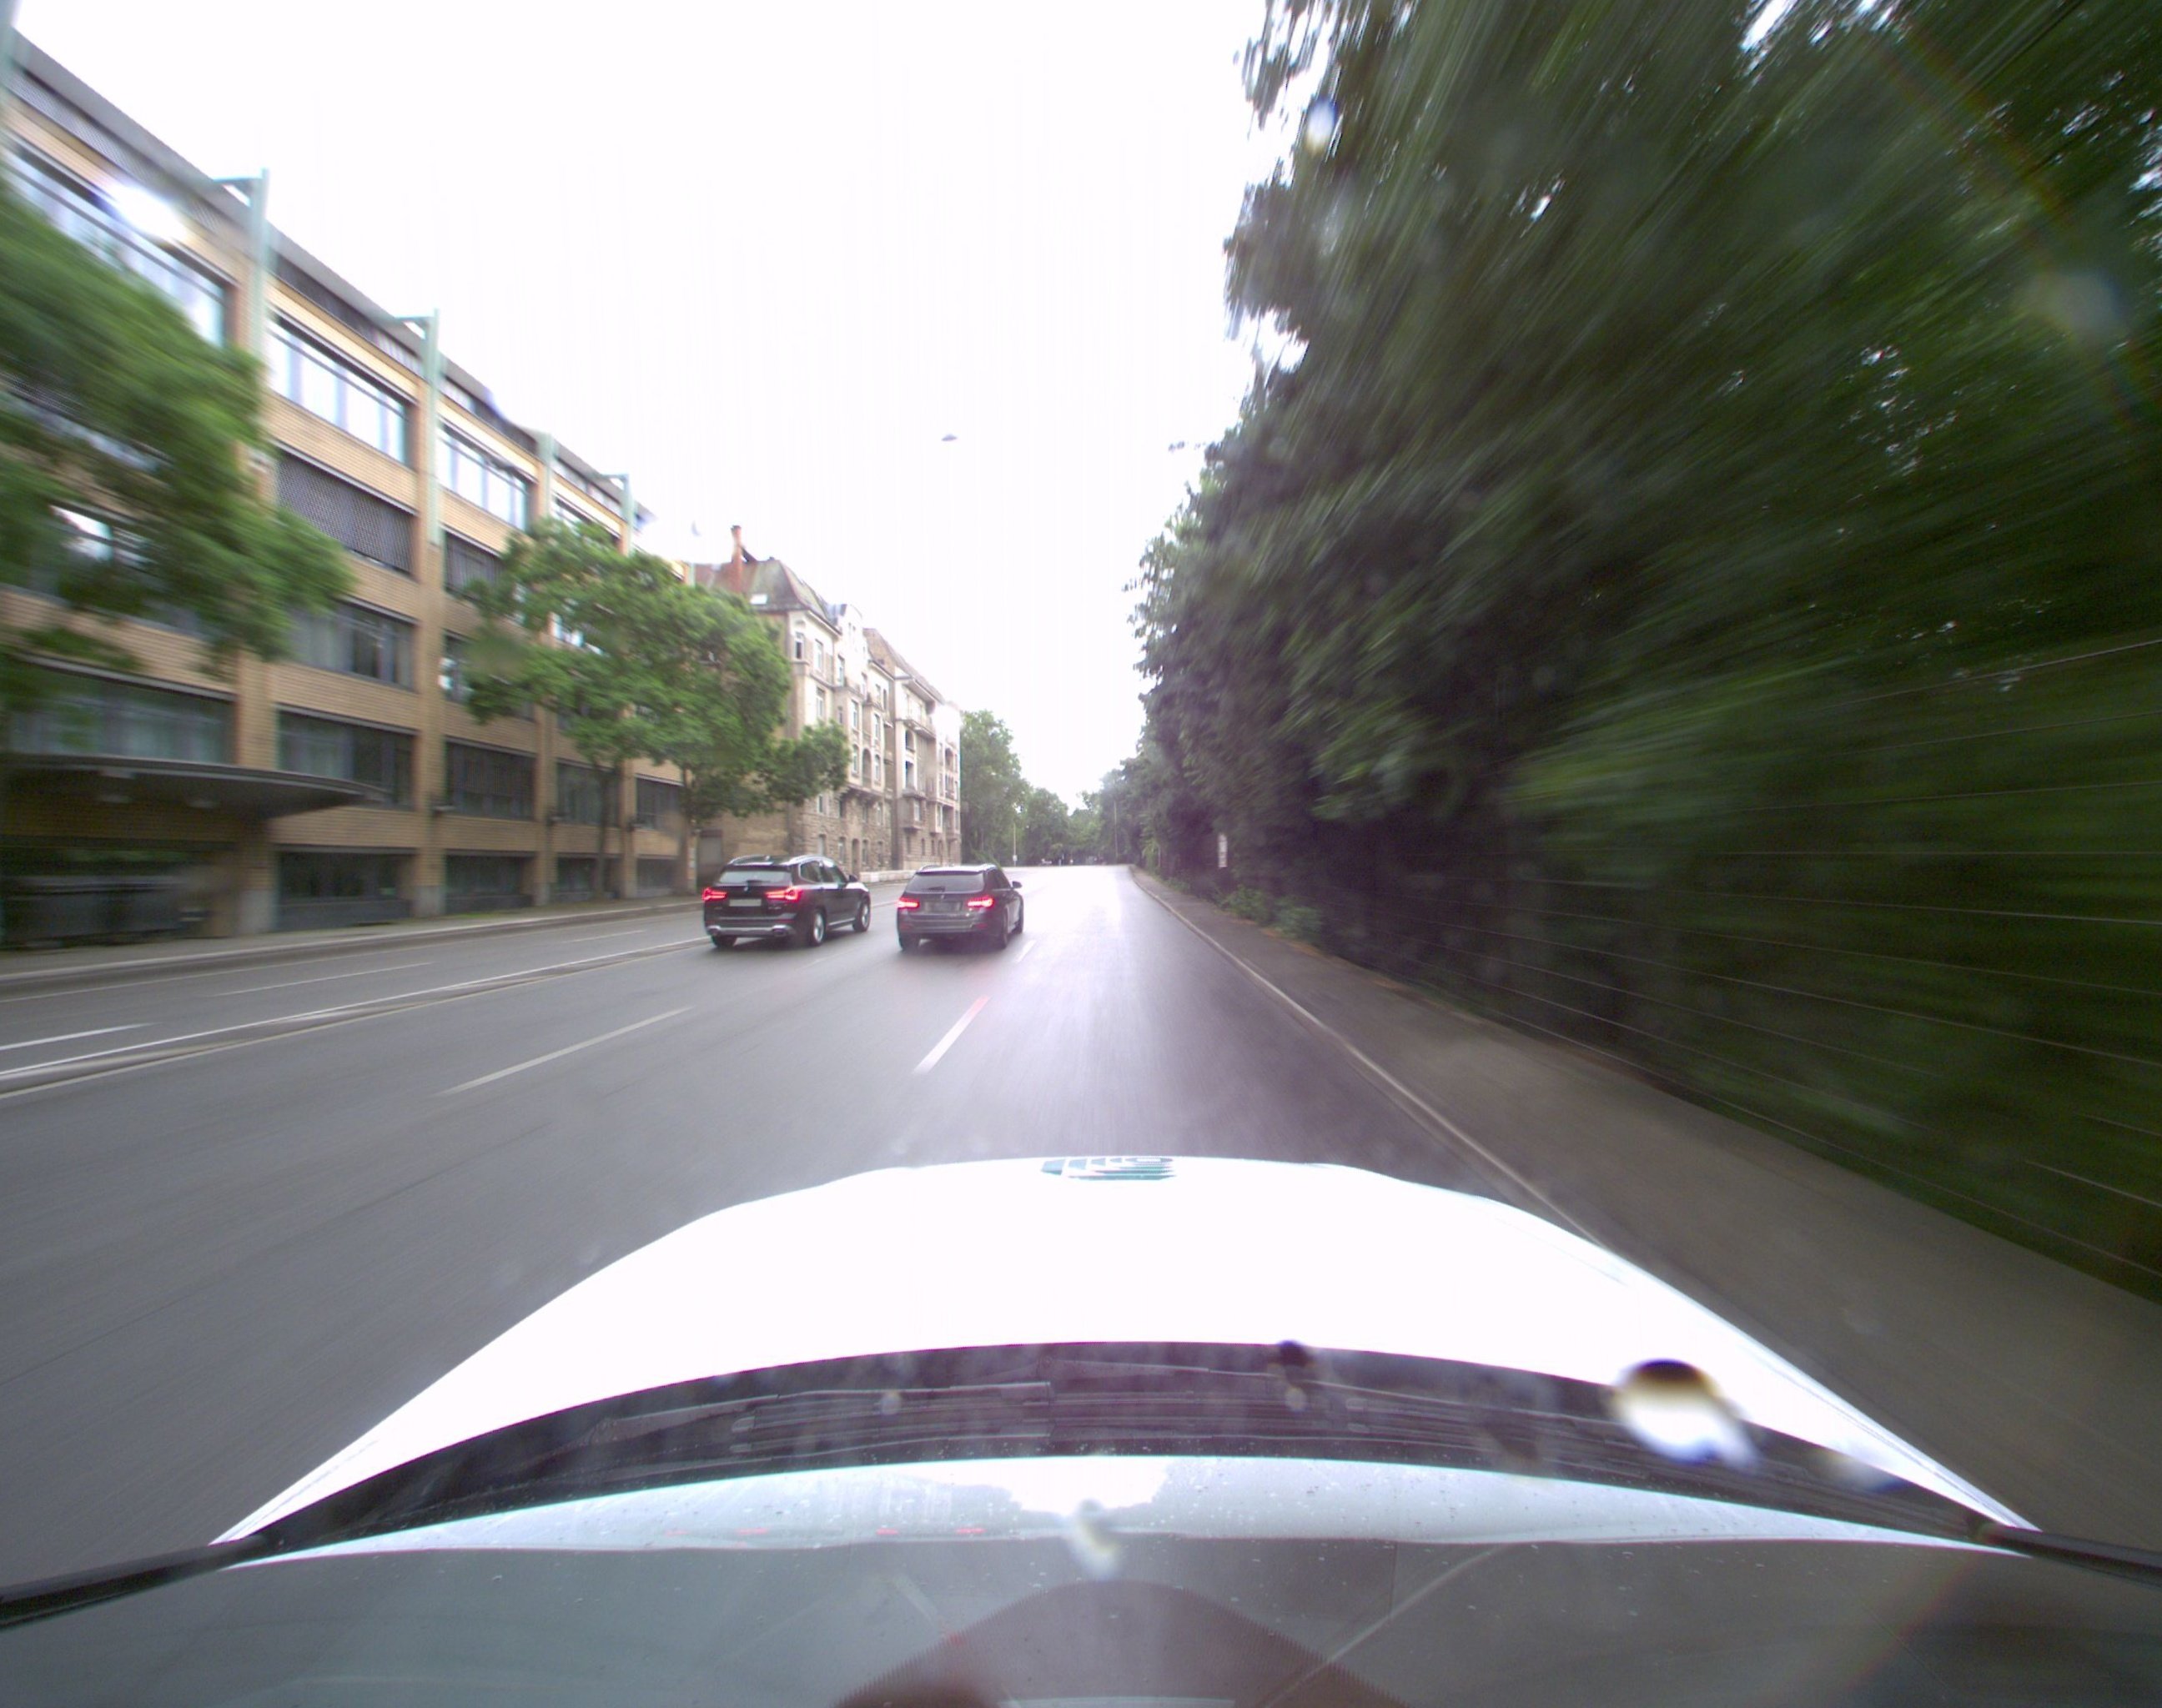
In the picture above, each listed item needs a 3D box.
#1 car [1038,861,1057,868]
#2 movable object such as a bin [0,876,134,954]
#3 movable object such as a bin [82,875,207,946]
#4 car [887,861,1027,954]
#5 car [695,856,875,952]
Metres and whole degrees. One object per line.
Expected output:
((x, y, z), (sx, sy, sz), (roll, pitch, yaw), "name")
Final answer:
((-7.592, 2.418, 183.542), (1.702, 1.427, 4.317), (4, -4, -44), "car")
((-19.938, 1.166, 16.064), (0.970, 1.436, 1.313), (0, 0, -3), "movable object such as a bin")
((-19.974, 1.179, 17.417), (1.065, 1.436, 1.371), (0, 0, -3), "movable object such as a bin")
((-2.106, 0.863, 15.056), (1.751, 1.432, 4.414), (0, 0, 2), "car")
((-5.514, 0.848, 15.840), (1.751, 1.586, 4.414), (-1, -1, 2), "car")
